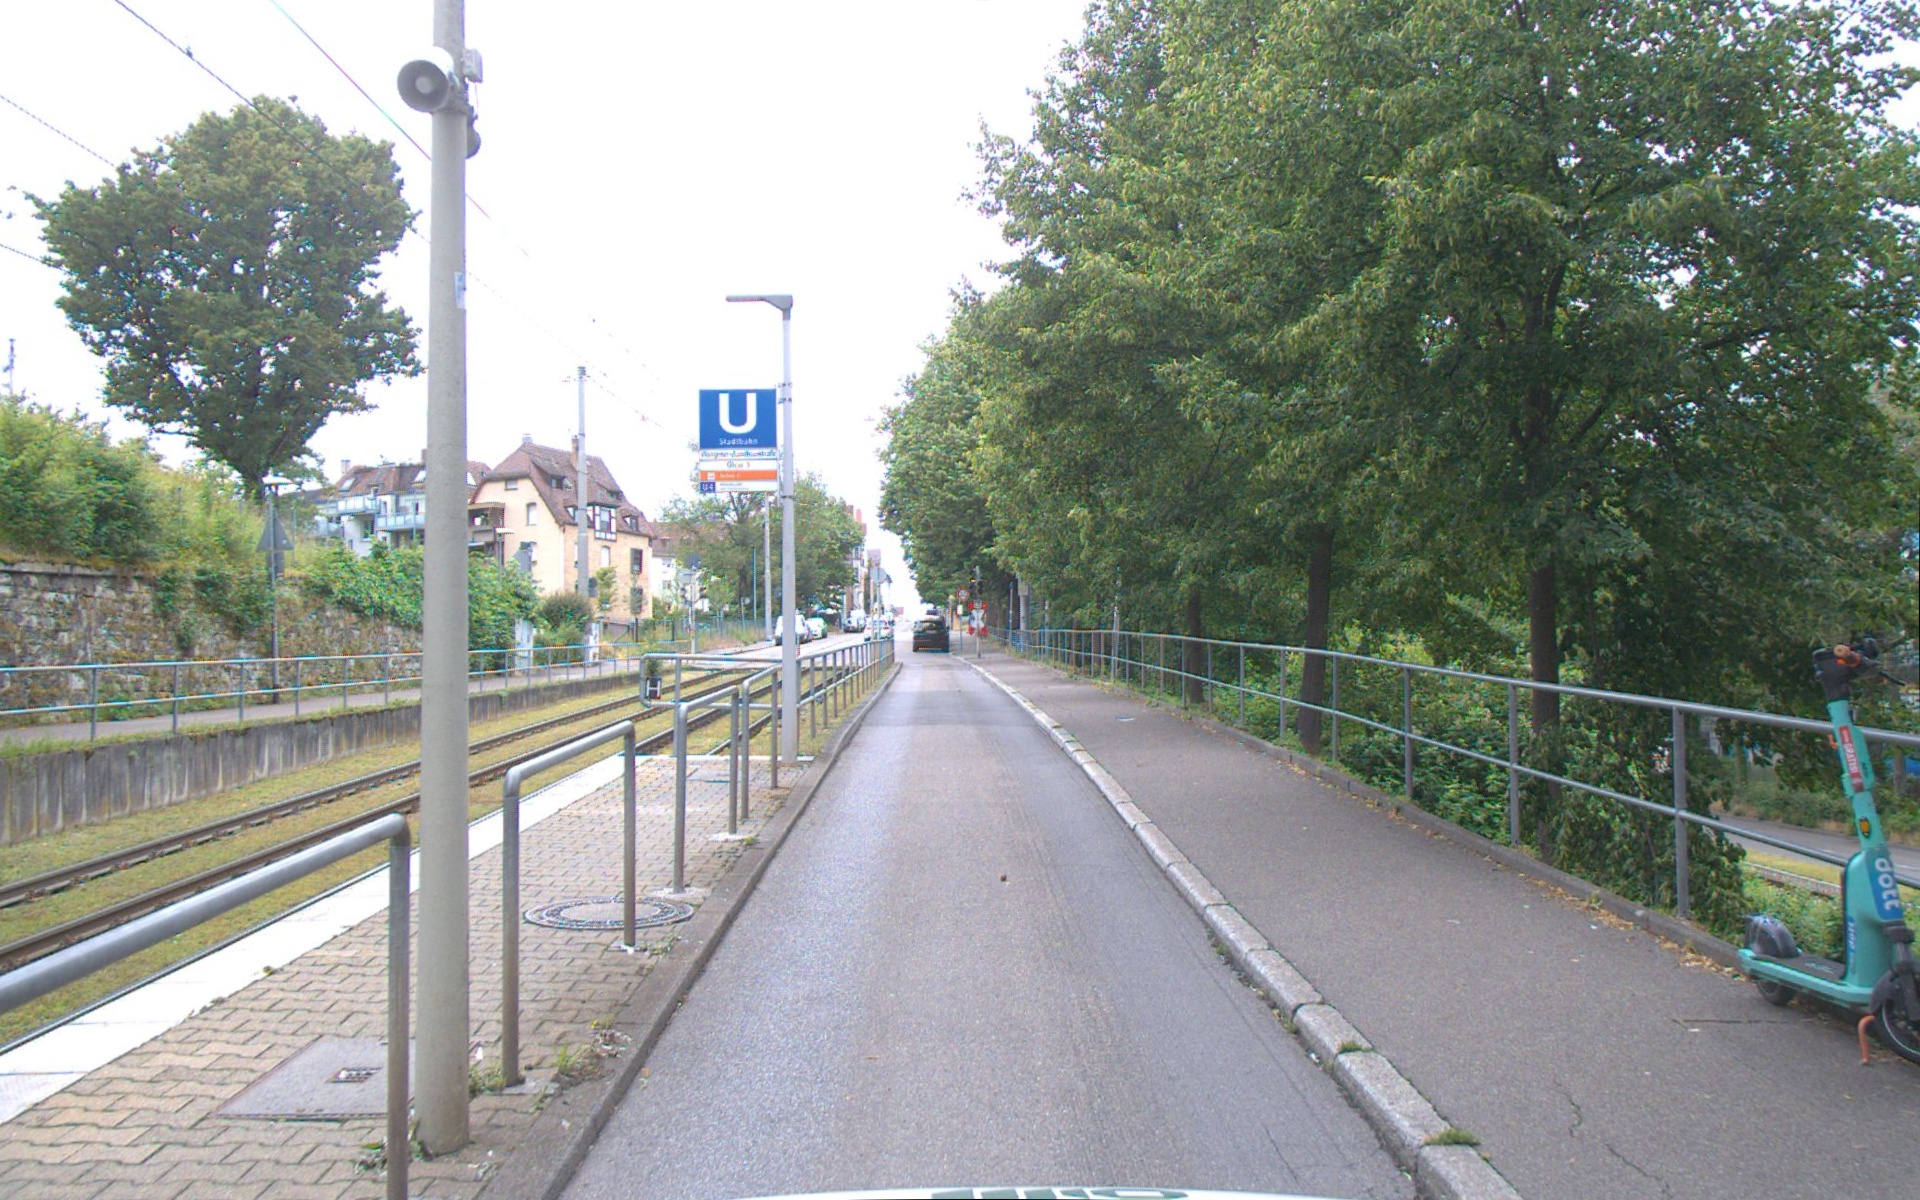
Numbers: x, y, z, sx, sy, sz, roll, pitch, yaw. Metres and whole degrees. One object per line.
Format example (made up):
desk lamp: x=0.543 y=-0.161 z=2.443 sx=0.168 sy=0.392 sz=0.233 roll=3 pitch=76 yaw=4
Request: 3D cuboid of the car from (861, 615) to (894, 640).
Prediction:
car: x=-5.235 y=1.783 z=105.702 sx=1.953 sy=1.525 sz=4.310 roll=1 pitch=-2 yaw=-1

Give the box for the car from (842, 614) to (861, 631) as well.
car: x=-12.345 y=2.542 z=188.256 sx=1.952 sy=1.840 sz=4.000 roll=0 pitch=-1 yaw=0

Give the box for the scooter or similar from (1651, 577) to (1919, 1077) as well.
scooter or similar: x=2.797 y=0.656 z=5.413 sx=0.421 sy=1.409 sz=1.455 roll=0 pitch=-2 yaw=-1

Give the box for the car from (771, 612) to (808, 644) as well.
car: x=-11.059 y=1.832 z=107.730 sx=1.995 sy=1.914 sz=4.882 roll=-3 pitch=-1 yaw=-2

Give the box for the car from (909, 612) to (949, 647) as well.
car: x=-1.522 y=1.458 z=82.279 sx=1.865 sy=1.643 sz=4.600 roll=1 pitch=-1 yaw=0
